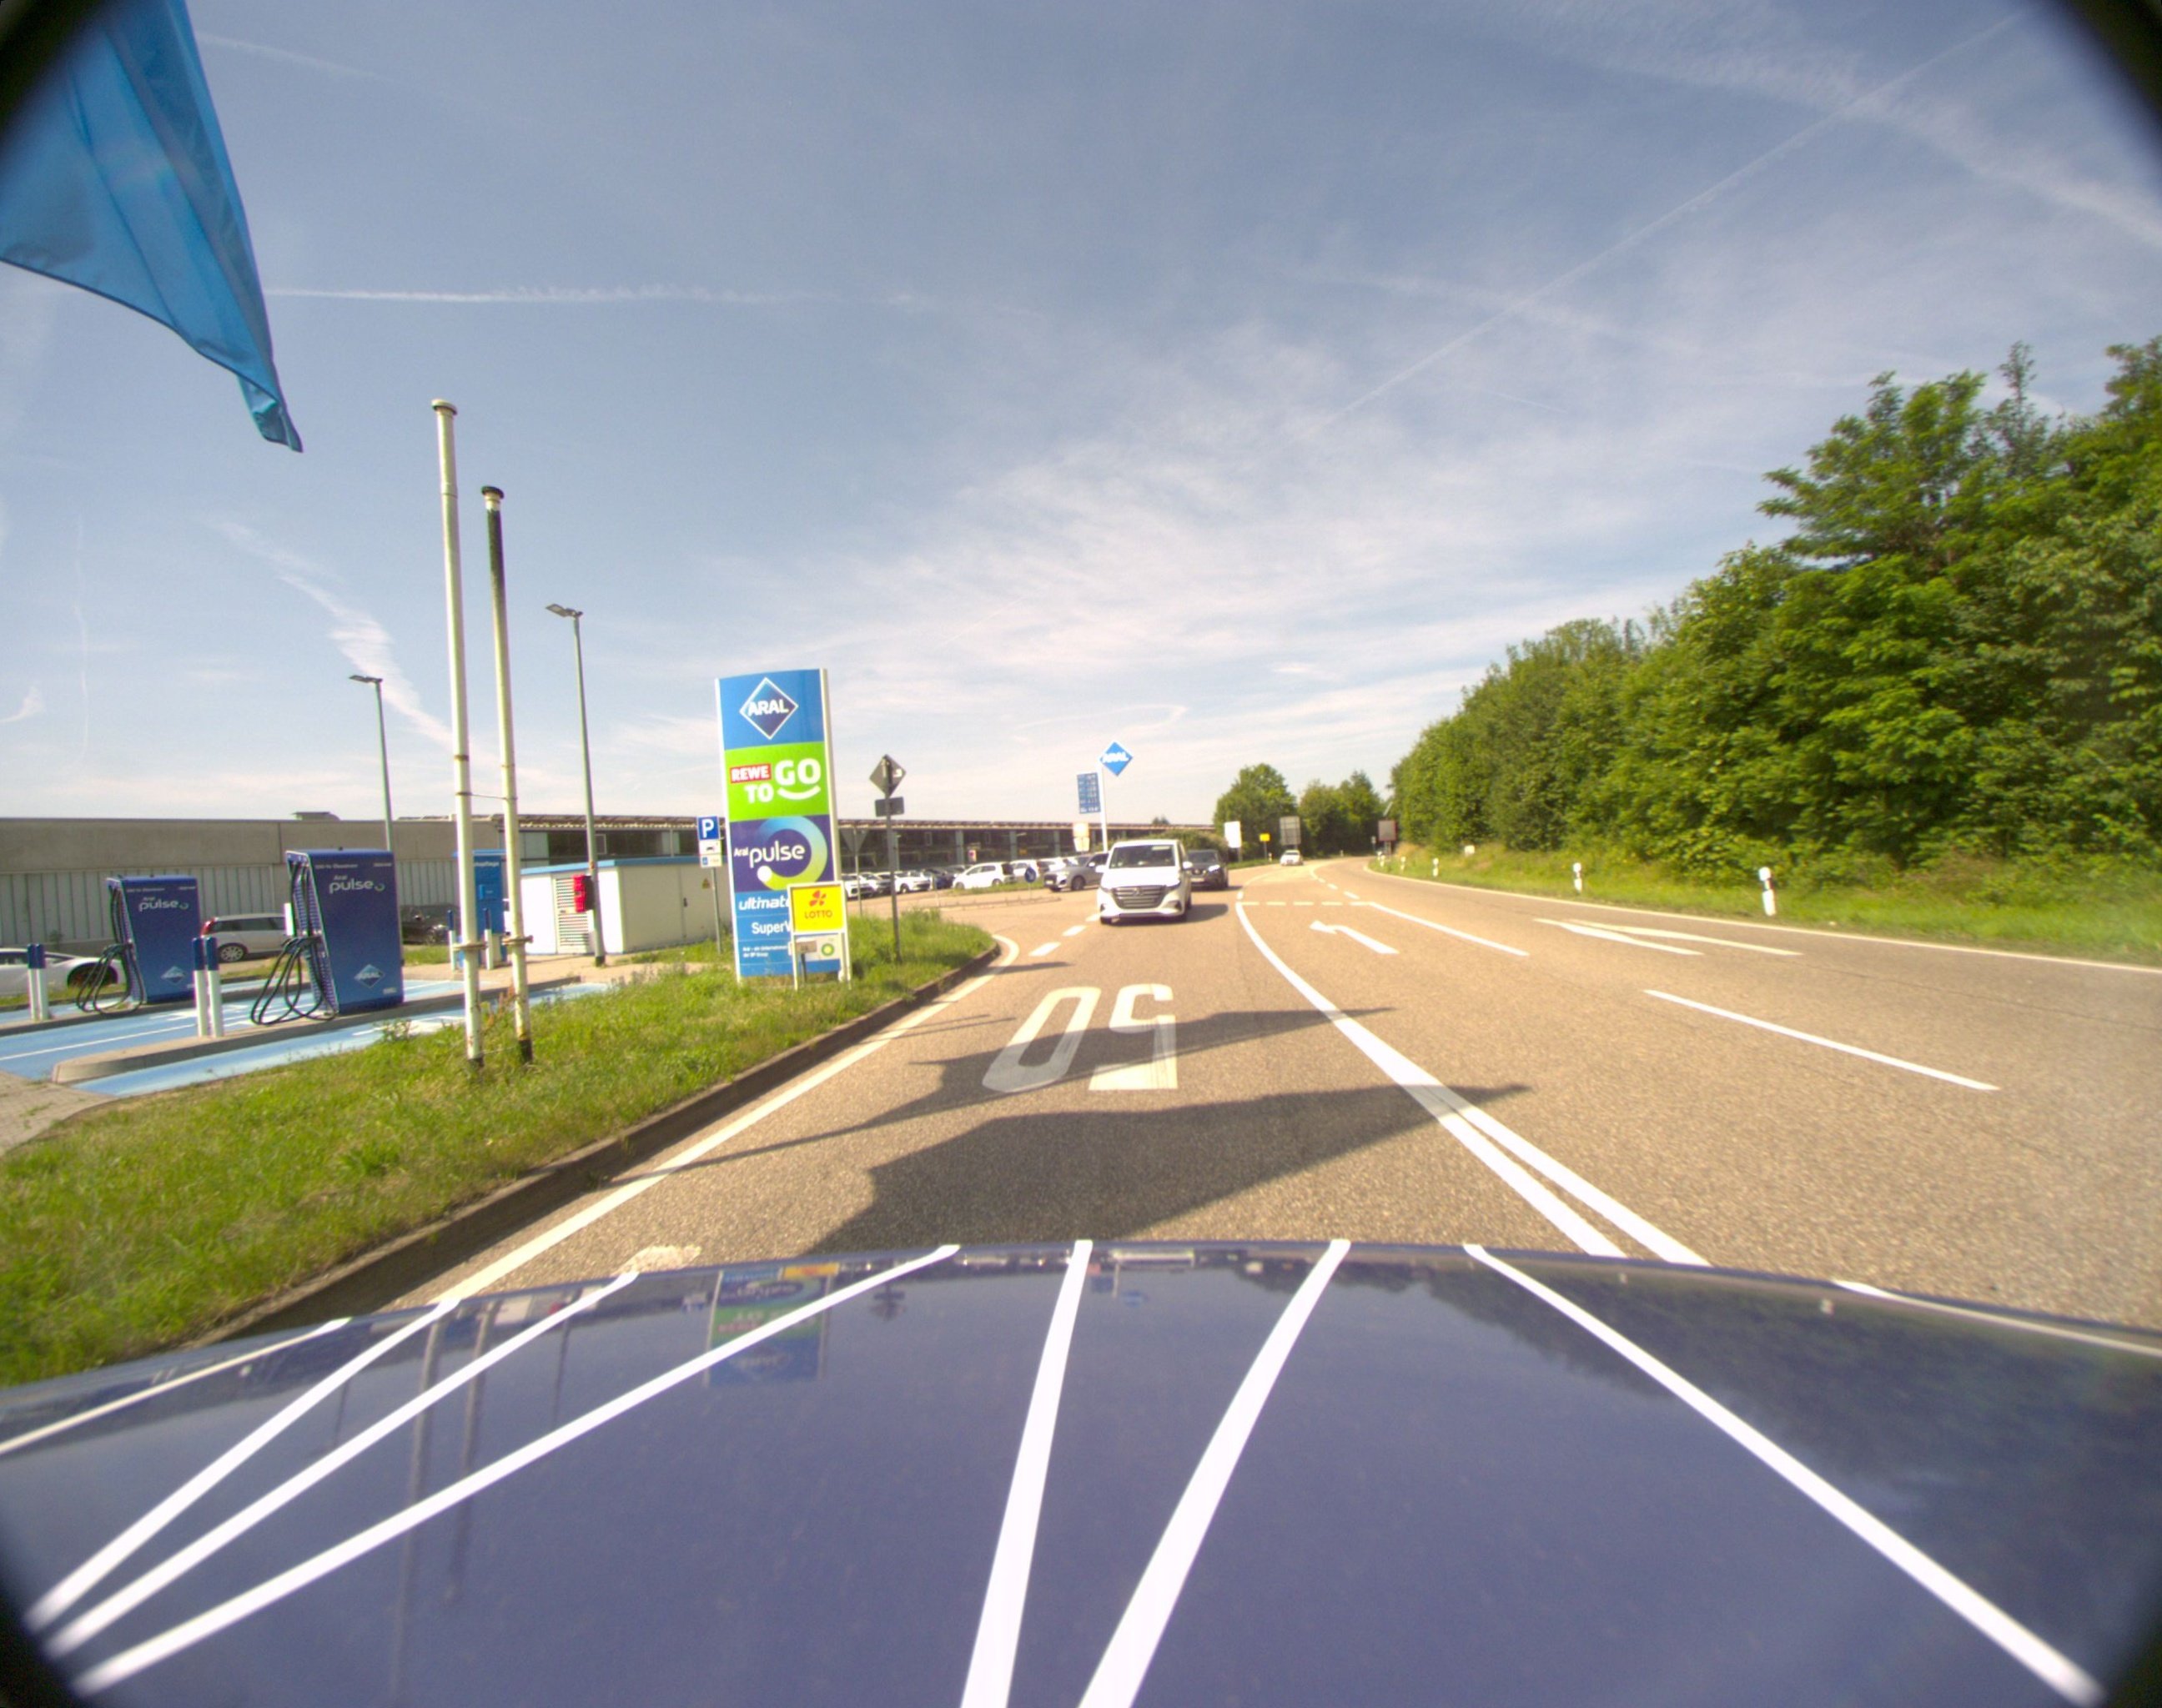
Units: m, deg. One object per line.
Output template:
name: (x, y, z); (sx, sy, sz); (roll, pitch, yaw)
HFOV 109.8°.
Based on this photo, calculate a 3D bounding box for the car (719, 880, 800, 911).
car: (-16.857, 2.158, 39.834); (4.035, 1.449, 1.826); (-3, -1, 31)

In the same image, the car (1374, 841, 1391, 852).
car: (51.422, -1.235, 129.563); (1.864, 1.631, 4.007); (-3, 0, 31)

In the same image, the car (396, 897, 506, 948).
car: (-23.025, 2.477, 27.738); (4.011, 1.595, 1.894); (-3, 0, 33)

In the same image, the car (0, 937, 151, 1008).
car: (-23.811, 2.690, 16.556); (1.695, 1.245, 4.132); (-3, 0, 24)

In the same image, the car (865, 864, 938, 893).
car: (-11.525, 1.590, 48.665); (4.454, 1.628, 1.826); (-3, -1, 31)

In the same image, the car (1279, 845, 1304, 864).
car: (20.097, 0.015, 72.306); (1.865, 1.631, 4.427); (-3, 0, 20)

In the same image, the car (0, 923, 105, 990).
car: (-29.509, 2.848, 20.235); (1.885, 1.595, 4.028); (-3, 0, 30)

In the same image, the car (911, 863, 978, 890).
car: (-9.595, 1.583, 53.233); (4.454, 1.628, 1.826); (-3, -1, 31)

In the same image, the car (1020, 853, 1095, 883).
car: (-1.487, 0.884, 47.809); (4.248, 1.628, 1.825); (-3, -1, 25)

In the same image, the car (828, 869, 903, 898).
car: (-13.319, 1.828, 46.803); (4.454, 1.628, 1.826); (-3, -1, 31)

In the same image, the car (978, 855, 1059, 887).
car: (-3.614, 0.986, 43.926); (4.248, 1.628, 1.825); (-3, -1, 25)

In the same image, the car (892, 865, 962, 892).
car: (-10.402, 1.628, 51.152); (4.454, 1.628, 1.826); (-3, -1, 31)

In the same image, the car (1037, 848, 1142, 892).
car: (0.502, 0.738, 37.150); (1.995, 1.820, 5.252); (-3, 0, 45)

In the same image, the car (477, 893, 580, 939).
car: (-21.887, 2.436, 30.060); (4.011, 1.595, 1.894); (-3, 0, 33)

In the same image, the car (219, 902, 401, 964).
car: (-26.225, 2.631, 25.983); (1.885, 1.595, 4.028); (-3, 0, 34)

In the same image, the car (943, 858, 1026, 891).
car: (-5.407, 1.153, 42.497); (4.248, 1.628, 1.825); (-3, -1, 25)

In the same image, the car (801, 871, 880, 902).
car: (-14.060, 1.891, 44.354); (4.454, 1.628, 1.826); (-3, -1, 31)

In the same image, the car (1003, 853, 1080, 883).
car: (-2.394, 0.841, 46.118); (4.248, 1.628, 1.825); (-3, -1, 25)

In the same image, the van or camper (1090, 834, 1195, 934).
van or camper: (1.679, 0.610, 18.542); (1.997, 2.002, 5.294); (-3, 0, 10)

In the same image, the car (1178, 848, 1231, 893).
car: (4.809, 0.604, 29.468); (1.819, 1.532, 3.730); (-3, 0, 10)
